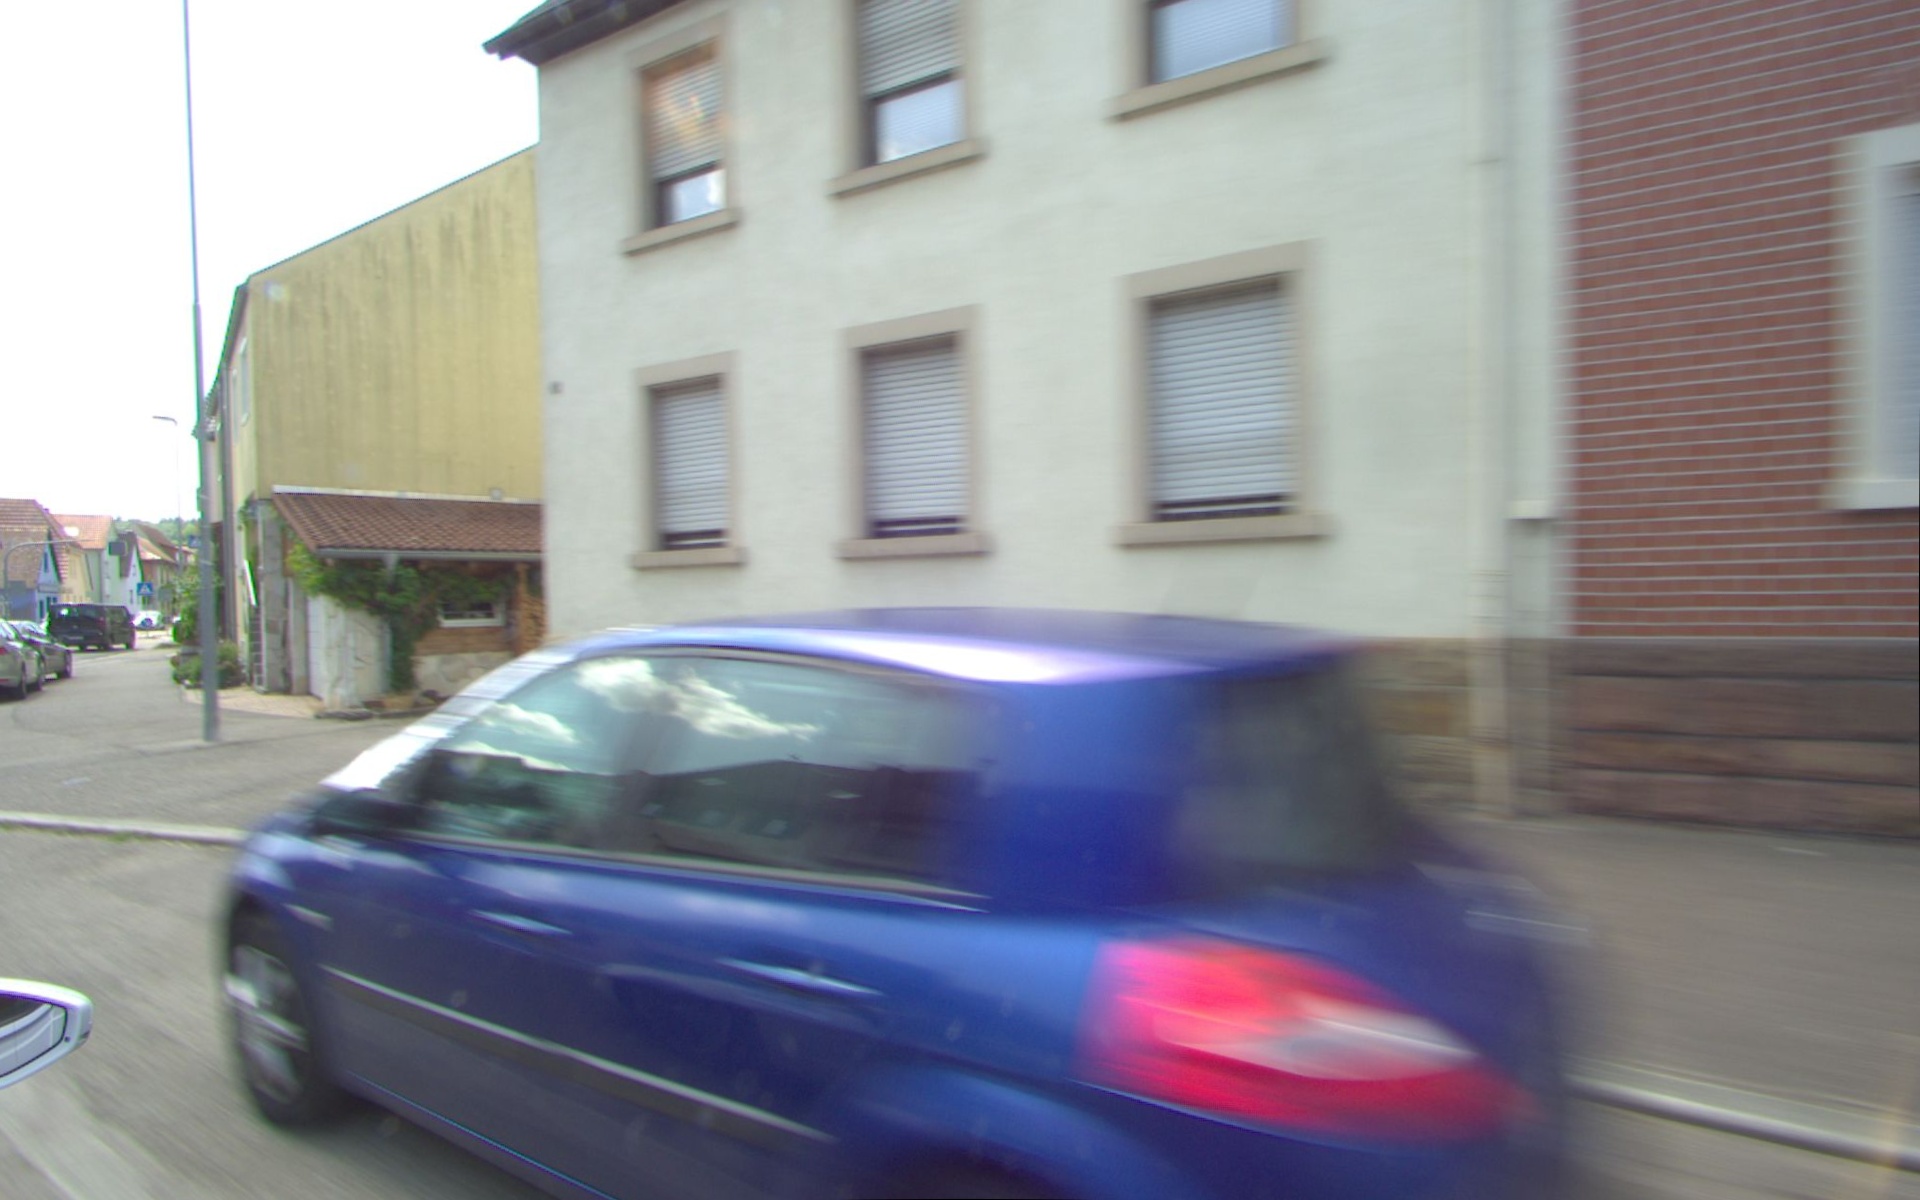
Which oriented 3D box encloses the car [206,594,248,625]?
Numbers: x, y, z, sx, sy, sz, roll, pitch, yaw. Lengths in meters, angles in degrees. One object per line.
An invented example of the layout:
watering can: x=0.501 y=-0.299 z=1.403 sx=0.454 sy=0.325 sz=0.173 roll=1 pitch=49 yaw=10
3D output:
car: x=-50.773 y=0.697 z=69.437 sx=1.972 sy=2.039 sz=3.980 roll=0 pitch=-2 yaw=-31

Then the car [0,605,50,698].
car: x=-17.995 y=0.927 z=18.248 sx=1.869 sy=1.551 sz=4.298 roll=-4 pitch=2 yaw=-41

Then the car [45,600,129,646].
car: x=-36.469 y=0.991 z=41.936 sx=1.972 sy=1.839 sz=3.979 roll=0 pitch=-2 yaw=-32

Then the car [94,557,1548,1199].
car: x=-0.637 y=0.711 z=2.872 sx=3.944 sy=1.404 sz=1.719 roll=-2 pitch=0 yaw=32

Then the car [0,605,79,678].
car: x=-21.286 y=0.942 z=22.726 sx=1.870 sy=1.549 sz=3.967 roll=1 pitch=-2 yaw=-41
